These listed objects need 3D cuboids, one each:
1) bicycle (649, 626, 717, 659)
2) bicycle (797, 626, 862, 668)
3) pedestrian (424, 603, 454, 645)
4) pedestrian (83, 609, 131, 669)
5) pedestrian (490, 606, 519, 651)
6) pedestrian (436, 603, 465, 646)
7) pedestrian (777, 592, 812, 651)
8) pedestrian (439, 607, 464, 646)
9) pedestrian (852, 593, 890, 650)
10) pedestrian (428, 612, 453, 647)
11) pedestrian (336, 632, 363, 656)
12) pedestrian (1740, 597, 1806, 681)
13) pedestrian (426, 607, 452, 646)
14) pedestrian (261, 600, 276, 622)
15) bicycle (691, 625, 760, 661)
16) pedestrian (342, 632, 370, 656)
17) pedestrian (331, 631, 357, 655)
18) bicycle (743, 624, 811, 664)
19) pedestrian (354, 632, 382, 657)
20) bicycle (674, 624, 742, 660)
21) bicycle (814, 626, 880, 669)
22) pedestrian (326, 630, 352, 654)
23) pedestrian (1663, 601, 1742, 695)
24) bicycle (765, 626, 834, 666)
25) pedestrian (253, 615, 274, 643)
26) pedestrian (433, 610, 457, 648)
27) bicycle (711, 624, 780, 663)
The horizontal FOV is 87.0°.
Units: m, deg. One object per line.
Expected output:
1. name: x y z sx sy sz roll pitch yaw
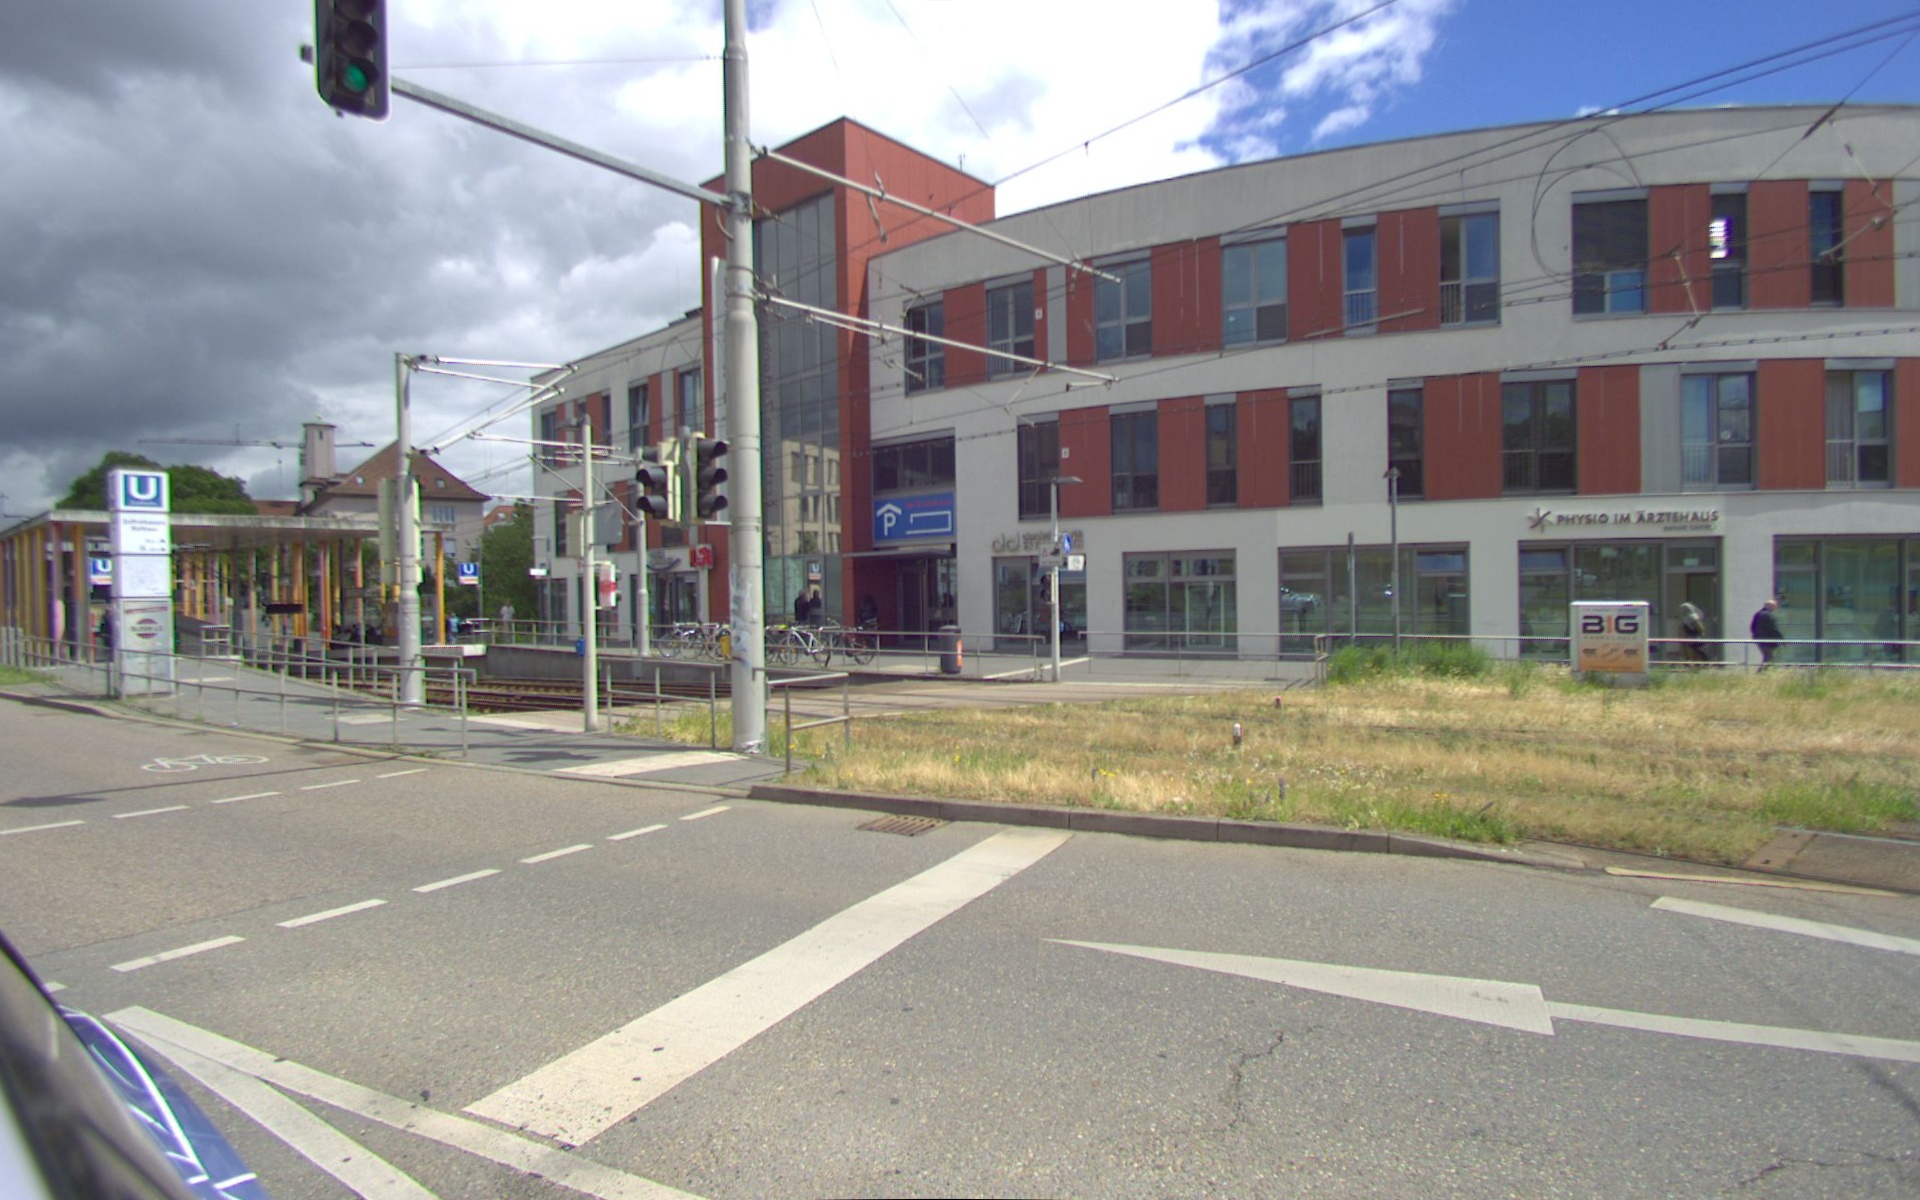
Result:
1. bicycle: -7.875 1.198 28.828 1.834 0.888 0.455 0 0 -41
2. bicycle: -3.224 1.144 25.071 0.428 0.965 1.716 -1 0 43
3. pedestrian: -24.447 1.116 47.517 1.105 1.983 0.853 0 -1 39
4. pedestrian: -28.268 1.269 33.534 0.864 1.929 1.090 0 -1 42
5. pedestrian: -20.704 1.277 45.989 1.106 1.983 0.852 0 -1 43
6. pedestrian: -24.115 1.161 47.898 1.105 1.983 0.853 0 -1 39
7. pedestrian: -5.311 0.672 32.478 0.856 1.859 0.876 0 1 13
8. pedestrian: -26.112 1.367 51.950 0.852 1.983 1.107 1 -1 -44
9. pedestrian: -2.701 0.651 30.728 0.785 1.711 0.927 0 -1 27
10. pedestrian: -30.382 1.721 59.157 1.102 1.983 0.855 0 -1 31
11. pedestrian: -30.115 2.146 49.899 0.886 1.143 0.931 -2 -1 42
12. pedestrian: 15.719 0.747 19.589 0.684 1.592 0.733 -1 -1 11
13. pedestrian: -26.533 1.350 51.539 0.852 1.983 1.107 1 -1 -44
14. pedestrian: -64.528 1.013 94.448 1.108 2.029 1.664 0 -1 -36
15. bicycle: -6.369 1.158 27.581 1.835 0.929 0.455 0 0 -42
16. pedestrian: -29.398 2.143 49.264 0.886 1.143 0.931 -2 -1 42
17. pedestrian: -30.805 2.150 50.617 0.886 1.143 0.931 -2 -1 42
18. bicycle: -4.738 1.134 26.333 0.454 0.970 1.837 -1 0 43
19. pedestrian: -28.549 2.143 48.789 0.886 1.143 0.931 -2 -1 42
20. bicycle: -6.982 1.161 28.140 1.835 0.939 0.455 0 0 -41
21. bicycle: -2.736 1.145 24.668 0.428 0.959 1.716 -1 0 43
22. pedestrian: -31.519 2.129 51.390 0.886 1.143 0.931 -2 -1 42
23. pedestrian: 16.171 1.025 22.070 1.104 1.983 0.862 0 -1 10
24. bicycle: -4.055 1.144 25.698 0.454 0.942 1.837 -1 0 43
25. pedestrian: -51.506 2.113 74.840 1.112 2.029 1.180 0 -2 -44
26. pedestrian: -27.381 1.532 53.794 0.852 1.983 1.107 1 -1 -44
27. bicycle: -5.697 1.145 26.981 1.836 0.946 0.455 0 0 -45
